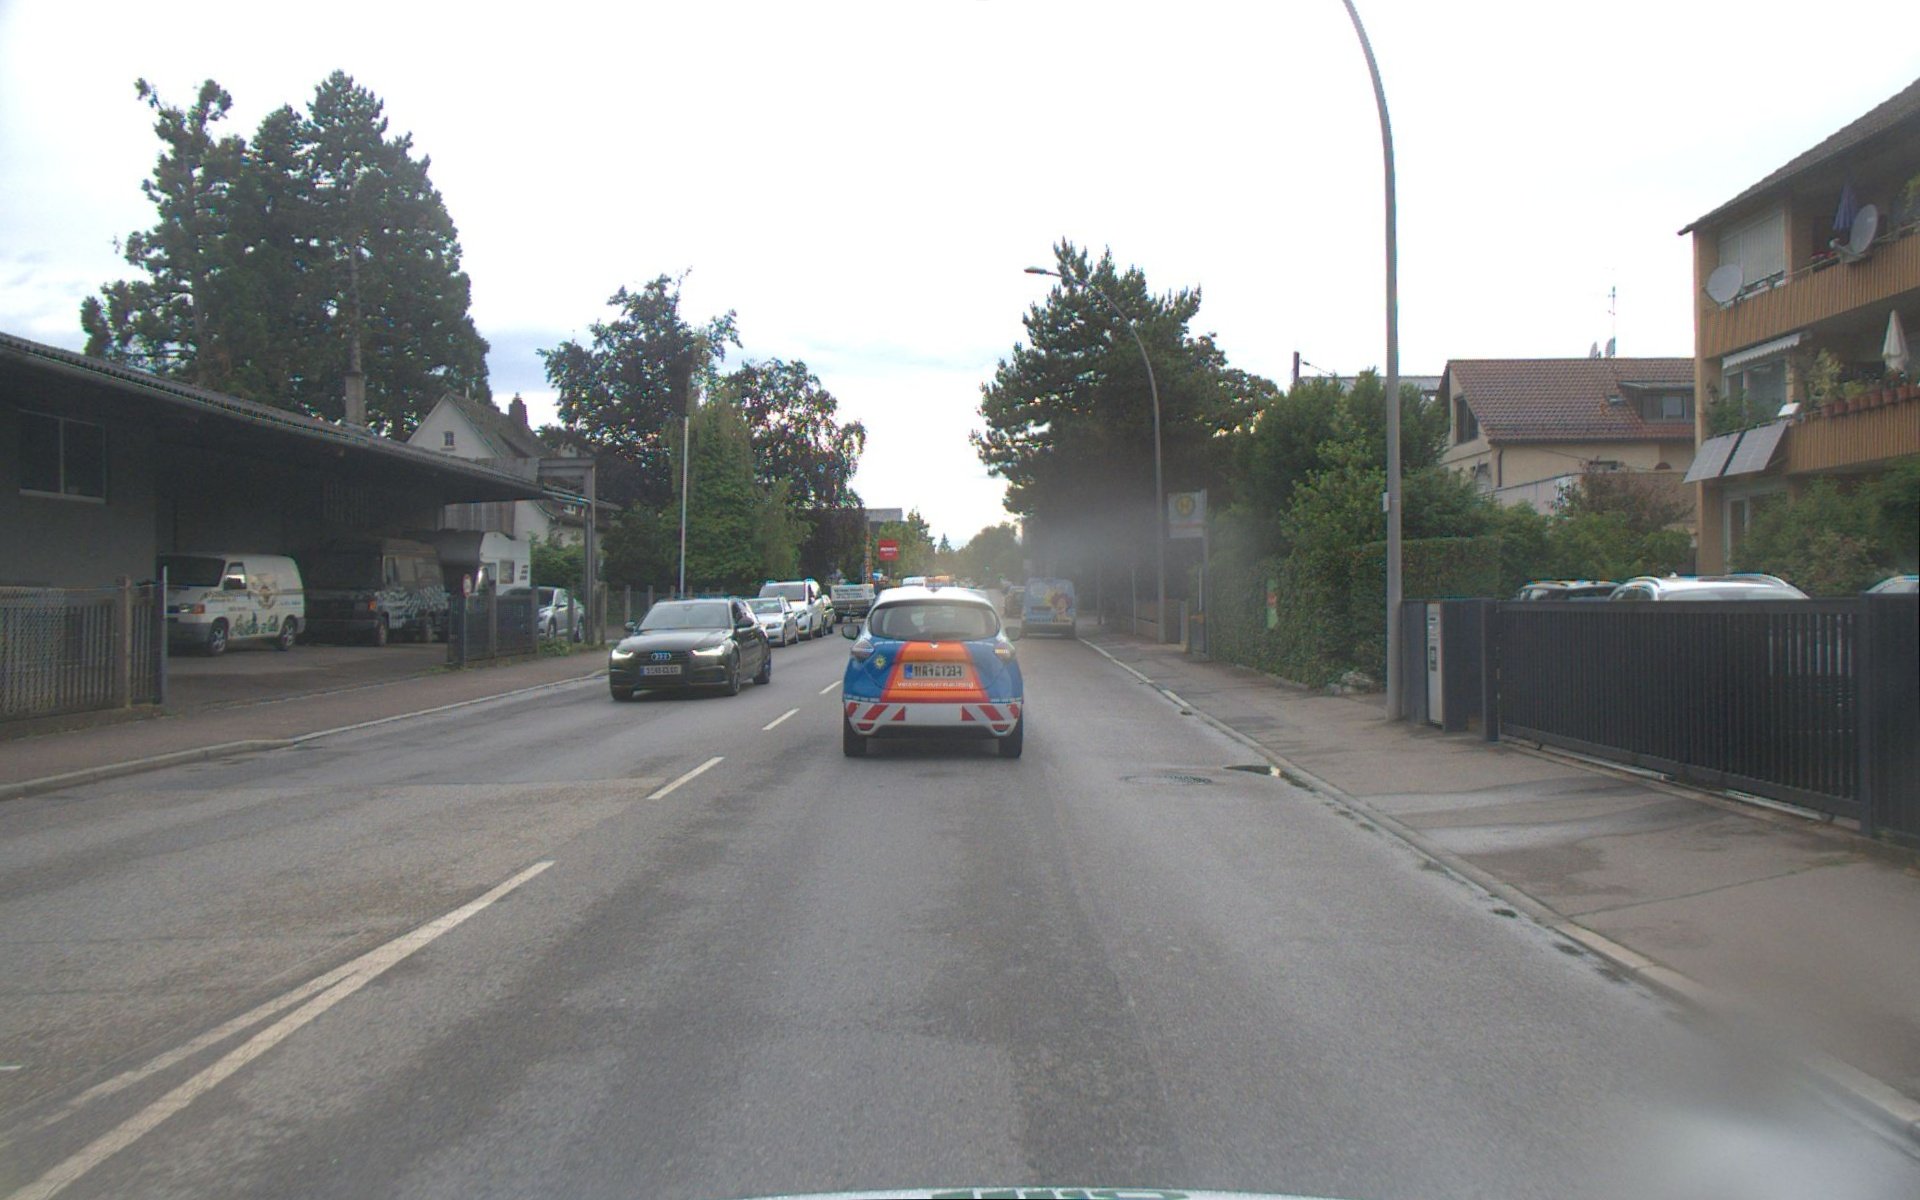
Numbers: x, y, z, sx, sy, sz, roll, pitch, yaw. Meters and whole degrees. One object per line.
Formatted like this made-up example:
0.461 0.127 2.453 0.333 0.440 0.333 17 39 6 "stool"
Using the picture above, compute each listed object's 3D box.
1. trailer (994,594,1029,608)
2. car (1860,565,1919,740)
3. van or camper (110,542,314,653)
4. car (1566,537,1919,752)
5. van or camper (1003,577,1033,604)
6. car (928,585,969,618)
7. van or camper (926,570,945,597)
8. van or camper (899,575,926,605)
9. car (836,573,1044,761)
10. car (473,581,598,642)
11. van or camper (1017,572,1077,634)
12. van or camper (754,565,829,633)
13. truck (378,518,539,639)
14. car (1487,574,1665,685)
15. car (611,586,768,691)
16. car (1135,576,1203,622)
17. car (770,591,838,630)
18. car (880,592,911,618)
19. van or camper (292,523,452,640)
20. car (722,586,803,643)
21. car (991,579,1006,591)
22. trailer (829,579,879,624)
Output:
2.945 0.072 95.087 1.899 0.767 2.859 0 1 0 "trailer"
10.042 0.510 15.332 1.843 1.679 4.101 1 -2 12 "car"
-14.380 -0.043 32.101 1.953 1.942 4.470 2 0 -1 "van or camper"
7.352 0.437 15.903 2.076 1.679 5.239 1 -2 12 "car"
4.024 -0.678 115.051 1.953 1.816 4.000 0 1 0 "van or camper"
-0.577 0.044 84.723 1.952 1.444 4.001 -2 2 1 "car"
-2.614 -1.803 176.639 1.953 2.823 5.440 0 1 0 "van or camper"
-3.901 -0.853 136.463 2.117 2.394 4.333 0 1 0 "van or camper"
-0.213 0.578 16.682 1.850 1.660 3.999 0 0 -1 "car"
-10.910 0.289 42.851 1.896 1.469 4.782 1 0 1 "car"
2.755 0.065 53.045 1.718 1.916 4.000 0 0 0 "van or camper"
-5.496 0.019 54.486 1.851 2.049 5.096 2 -2 1 "van or camper"
-13.412 -0.506 44.709 2.345 2.978 5.957 2 -1 1 "truck"
9.442 0.402 25.633 1.626 1.574 4.003 0 0 6 "car"
-4.121 0.608 25.867 1.707 1.477 4.542 -1 -2 0 "car"
7.596 0.004 60.541 1.953 1.512 3.999 2 -2 0 "car"
-5.627 0.357 60.070 1.952 1.310 4.001 0 1 1 "car"
-4.381 0.330 112.676 1.953 1.624 3.999 2 -2 -1 "car"
-13.721 -0.337 38.987 1.821 2.480 5.232 2 -2 -1 "van or camper"
-5.671 0.465 47.956 1.706 1.506 4.184 -2 -2 1 "car"
5.285 -2.024 227.994 1.953 1.613 4.000 0 1 0 "car"
-5.206 0.117 81.570 2.175 2.049 4.435 2 -2 -1 "trailer"
